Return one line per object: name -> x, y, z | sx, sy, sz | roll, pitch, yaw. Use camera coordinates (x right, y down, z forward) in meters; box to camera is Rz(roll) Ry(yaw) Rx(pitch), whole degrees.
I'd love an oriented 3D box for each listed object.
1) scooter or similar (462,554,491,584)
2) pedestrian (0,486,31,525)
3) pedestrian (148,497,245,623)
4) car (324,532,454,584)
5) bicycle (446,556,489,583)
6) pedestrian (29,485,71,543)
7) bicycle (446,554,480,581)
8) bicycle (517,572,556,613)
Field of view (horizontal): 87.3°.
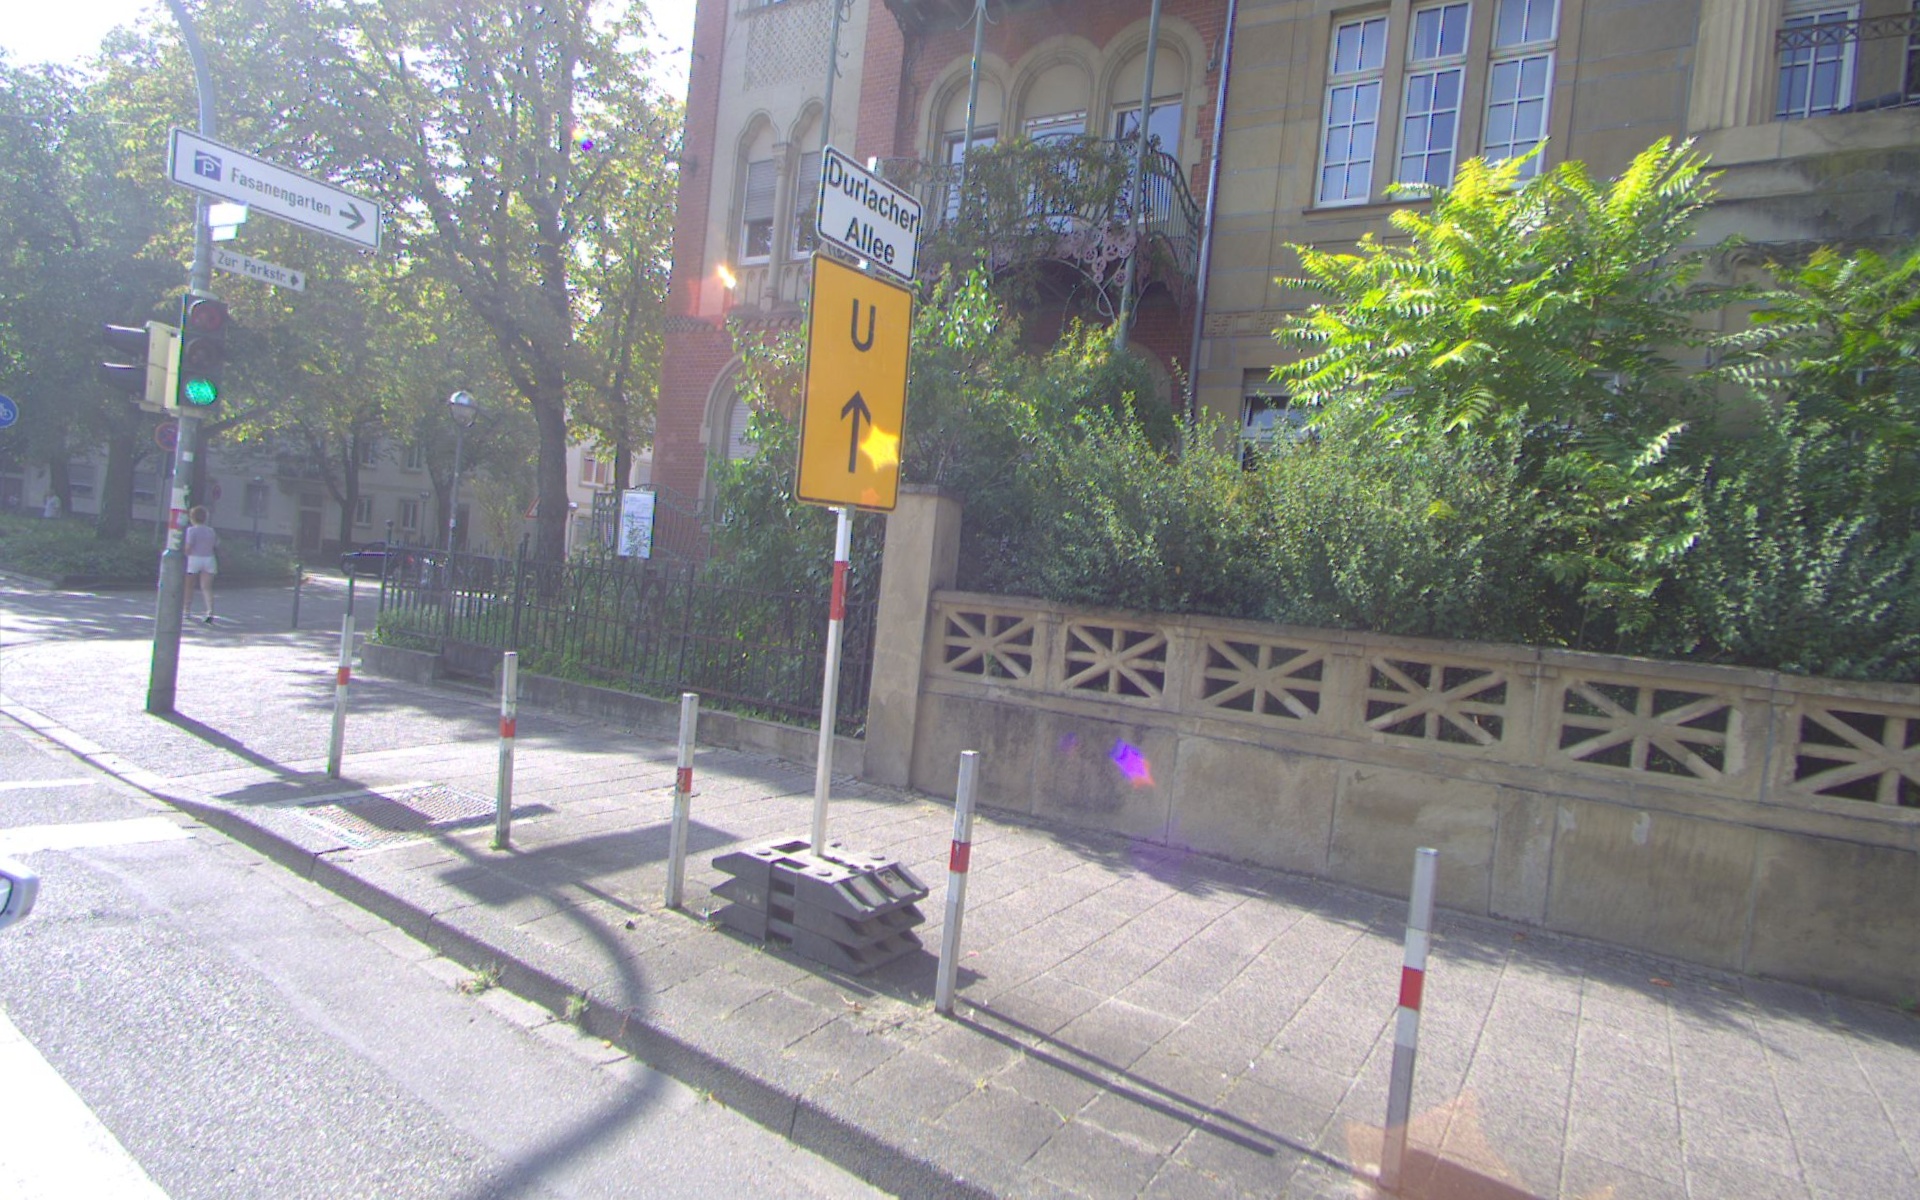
scooter or similar -> -20.532, -1.314, 42.750 | 1.059, 1.214, 0.456 | 2, 4, -27
pedestrian -> -47.680, -4.754, 50.689 | 0.880, 1.762, 0.774 | 6, 1, -14
pedestrian -> -11.333, -0.580, 14.949 | 0.757, 1.753, 0.752 | 6, 1, 22
car -> -21.449, -1.558, 37.828 | 3.923, 1.436, 1.861 | 6, 0, 12
bicycle -> -21.166, -1.300, 43.289 | 1.546, 0.990, 0.420 | 6, 1, -45
pedestrian -> -29.752, -2.815, 32.902 | 0.887, 1.762, 0.767 | 5, 1, -40
bicycle -> -21.987, -1.431, 44.546 | 0.417, 1.052, 1.556 | 6, 0, 12
bicycle -> -10.963, -0.202, 26.064 | 0.418, 0.990, 1.767 | 6, 0, -8
